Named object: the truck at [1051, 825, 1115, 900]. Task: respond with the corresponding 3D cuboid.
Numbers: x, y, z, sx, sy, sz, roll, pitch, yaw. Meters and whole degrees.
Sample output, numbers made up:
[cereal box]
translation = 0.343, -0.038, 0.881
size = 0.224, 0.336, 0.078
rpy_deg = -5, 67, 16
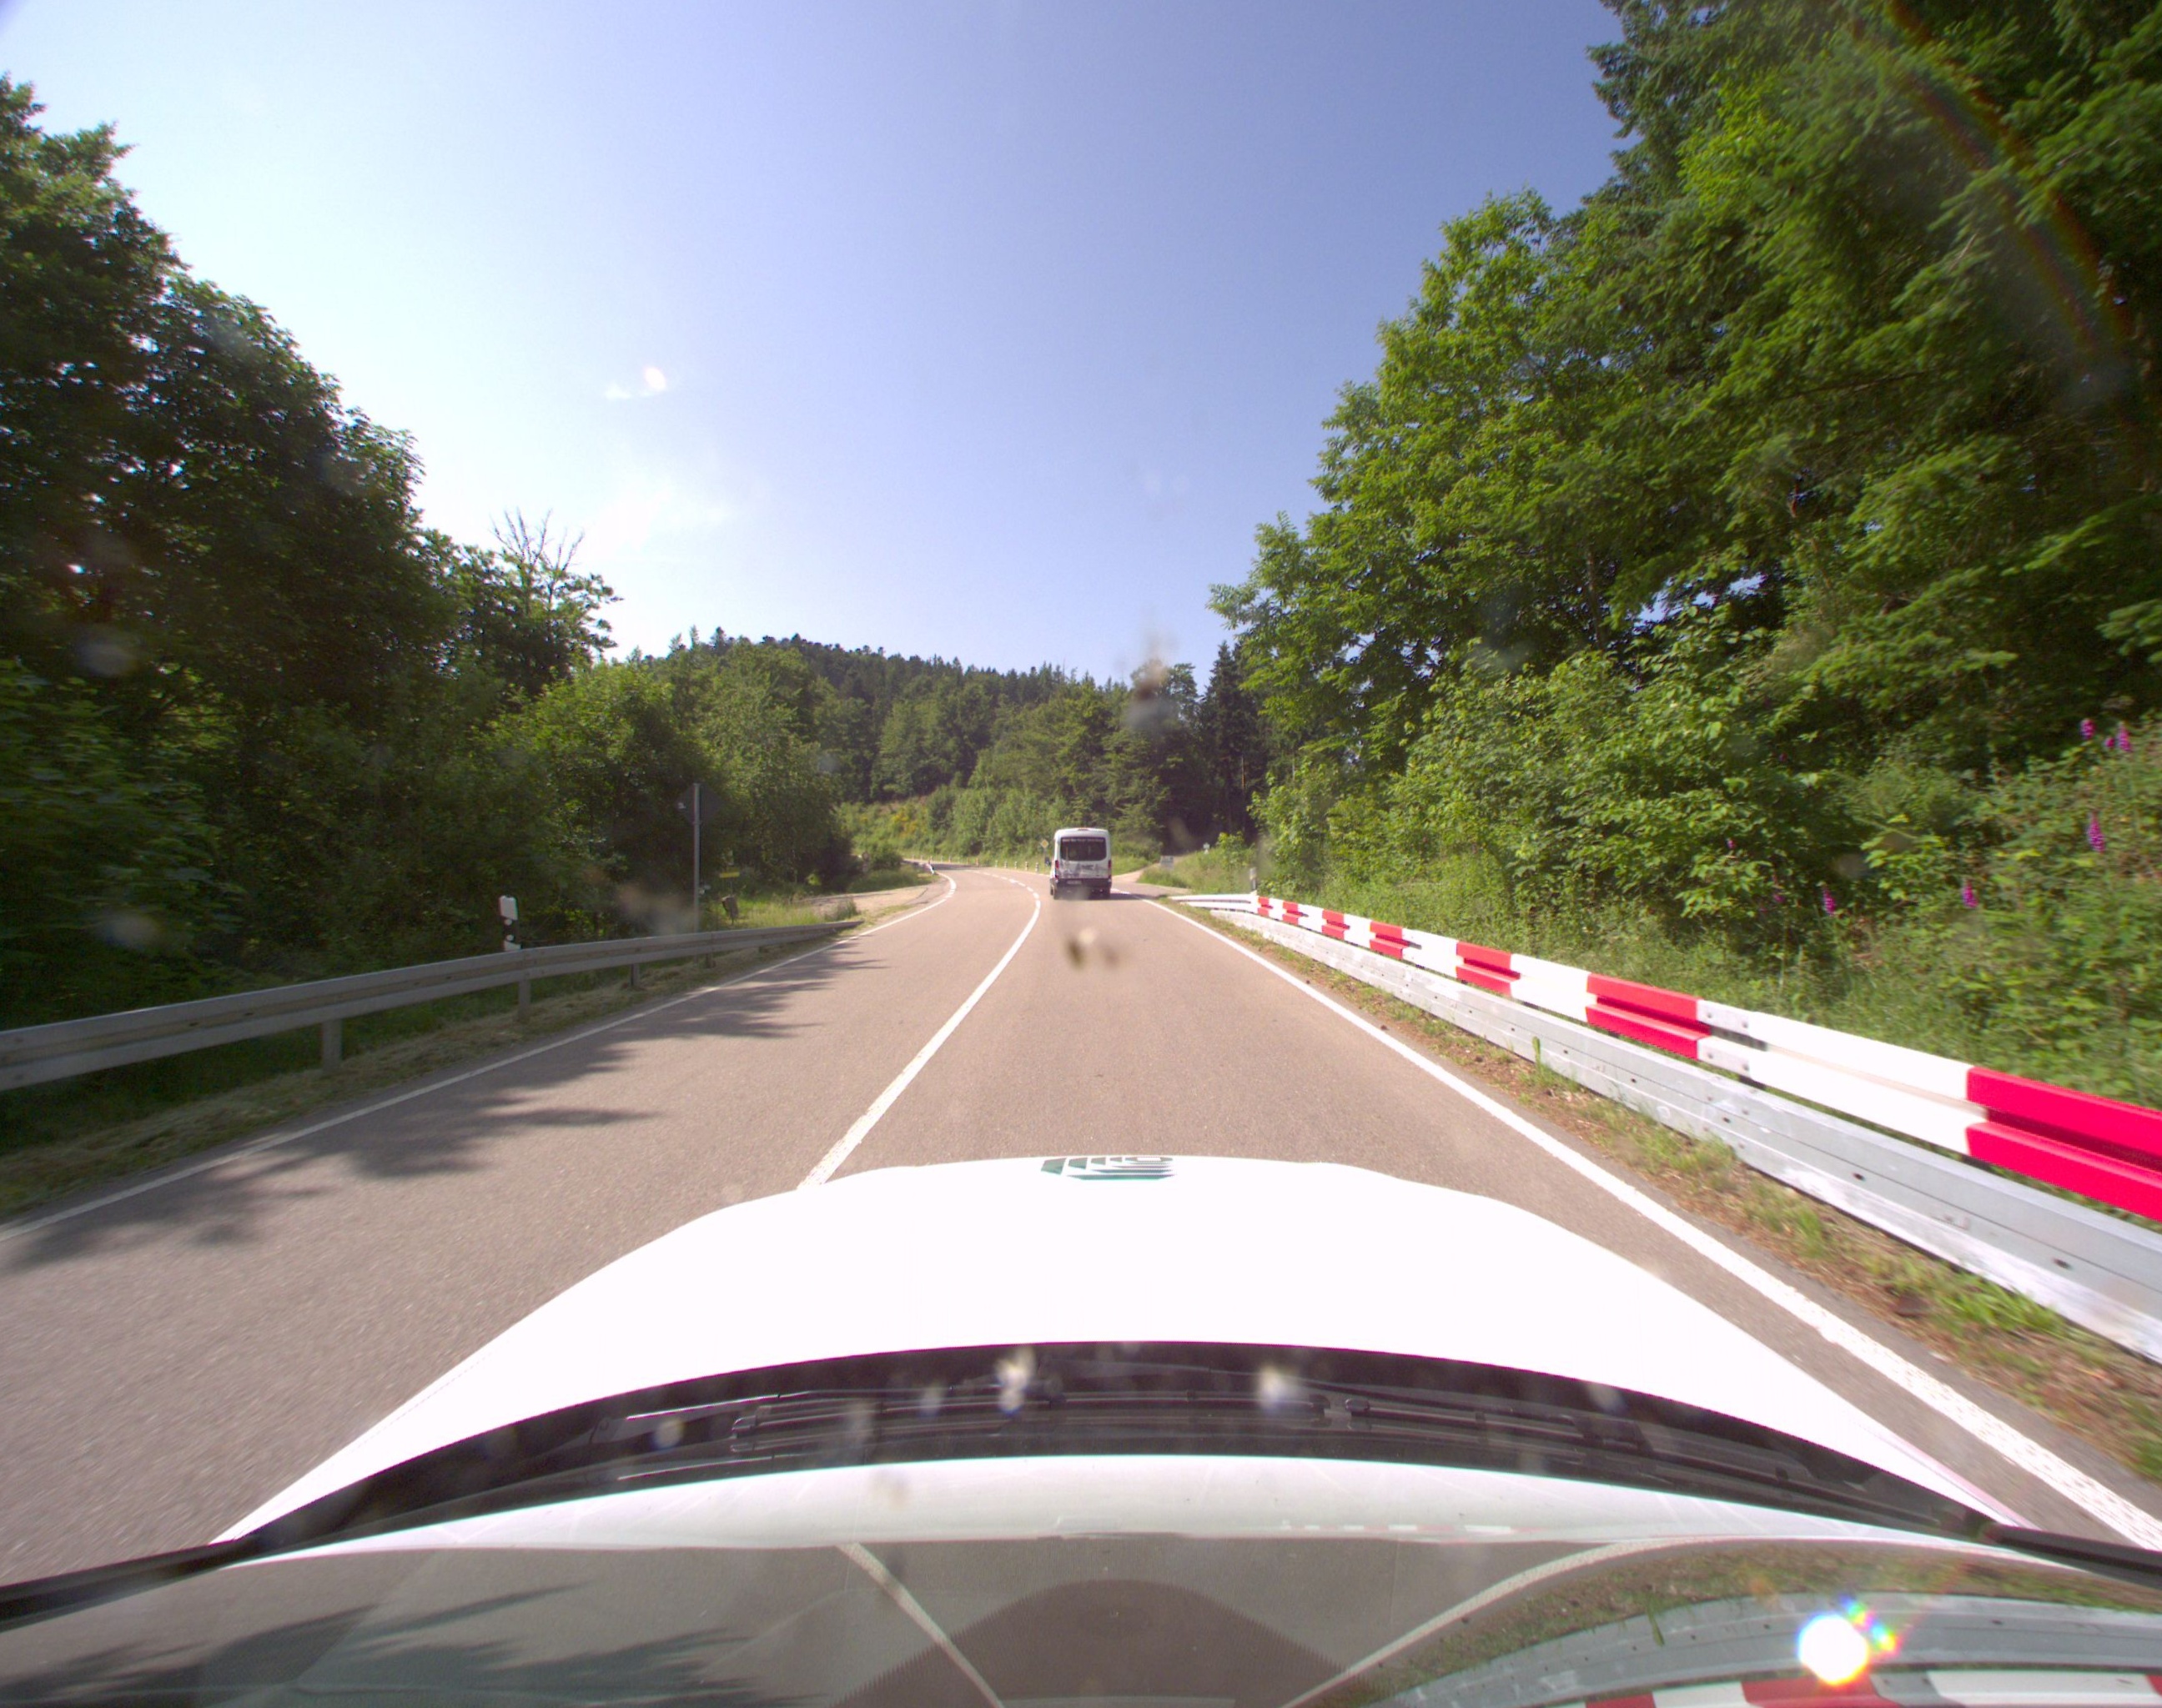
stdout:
[truck]
translation = -0.021, 0.285, 30.157
size = 2.110, 2.498, 5.355
rpy_deg = -1, 0, -2
